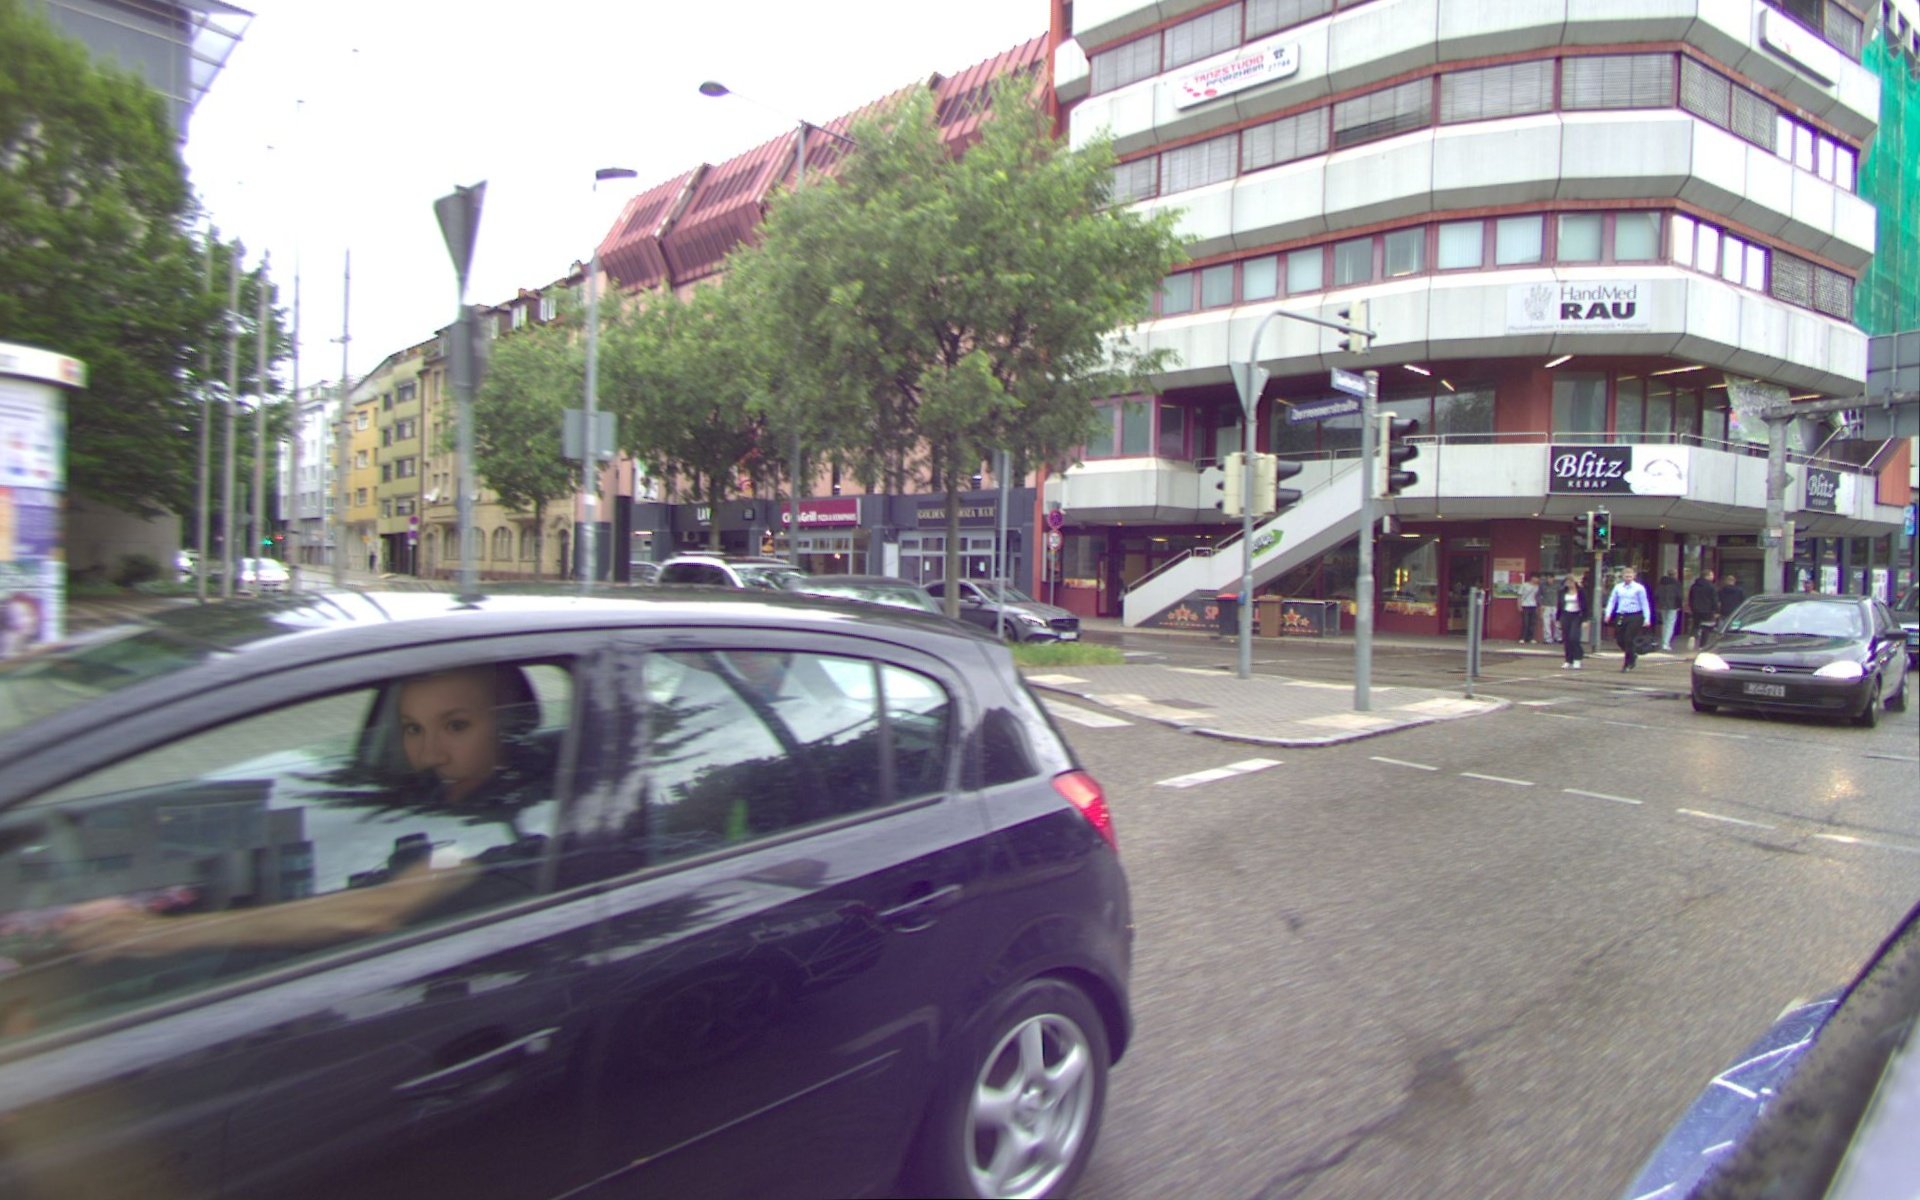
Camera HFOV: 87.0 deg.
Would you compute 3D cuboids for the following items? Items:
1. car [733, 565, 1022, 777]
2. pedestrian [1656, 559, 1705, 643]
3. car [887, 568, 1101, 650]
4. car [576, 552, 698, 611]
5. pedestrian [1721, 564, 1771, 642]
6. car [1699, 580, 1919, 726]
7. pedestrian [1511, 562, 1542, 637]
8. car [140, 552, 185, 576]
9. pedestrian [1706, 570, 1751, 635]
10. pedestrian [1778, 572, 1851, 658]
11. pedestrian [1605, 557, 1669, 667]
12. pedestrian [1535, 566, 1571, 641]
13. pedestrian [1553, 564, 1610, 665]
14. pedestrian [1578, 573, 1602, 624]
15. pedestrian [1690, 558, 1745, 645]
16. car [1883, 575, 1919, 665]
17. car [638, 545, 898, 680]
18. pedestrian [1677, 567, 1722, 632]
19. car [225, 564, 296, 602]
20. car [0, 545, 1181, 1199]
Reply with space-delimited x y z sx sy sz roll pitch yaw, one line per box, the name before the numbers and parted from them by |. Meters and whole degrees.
car | -0.998 0.458 9.354 1.958 1.495 4.009 -1 1 -15
pedestrian | 16.846 0.009 23.655 0.664 1.919 0.735 -2 2 -35
car | 0.601 0.110 20.521 4.260 1.437 1.759 2 2 44
car | -9.764 -0.593 30.444 3.989 1.615 1.856 3 2 45
pedestrian | 18.645 0.054 24.004 0.872 1.801 0.750 -2 1 -37
car | 10.175 0.520 11.981 3.565 1.459 1.594 0 1 -42
pedestrian | 13.837 -0.017 24.724 0.520 1.784 0.509 -1 2 14
car | -52.806 -2.371 66.989 3.986 1.488 1.775 0 1 43
pedestrian | 20.409 0.064 26.882 0.922 1.683 0.576 0 3 -32
pedestrian | 19.263 0.327 22.819 0.789 1.799 0.900 -2 7 -30
pedestrian | 11.939 0.194 17.855 0.830 1.869 0.625 -2 2 -28
pedestrian | 14.315 0.076 24.417 0.483 1.784 0.597 -2 2 -33
pedestrian | 11.326 0.244 18.445 0.663 1.795 0.625 -2 2 -28
pedestrian | 19.087 -0.062 30.678 0.453 1.504 0.507 1 3 17
pedestrian | 17.250 0.016 23.048 0.775 1.924 0.761 -2 2 -34
car | 19.951 0.362 20.027 4.170 1.700 1.736 -1 0 -37
car | -3.109 0.061 15.670 1.825 1.781 4.600 -2 3 -42
pedestrian | 20.055 -0.027 27.440 0.952 1.727 0.591 0 3 -32
car | -29.907 -0.769 43.235 3.989 1.487 1.774 3 3 45
car | -1.378 0.673 1.959 3.678 1.475 1.710 0 0 -42
